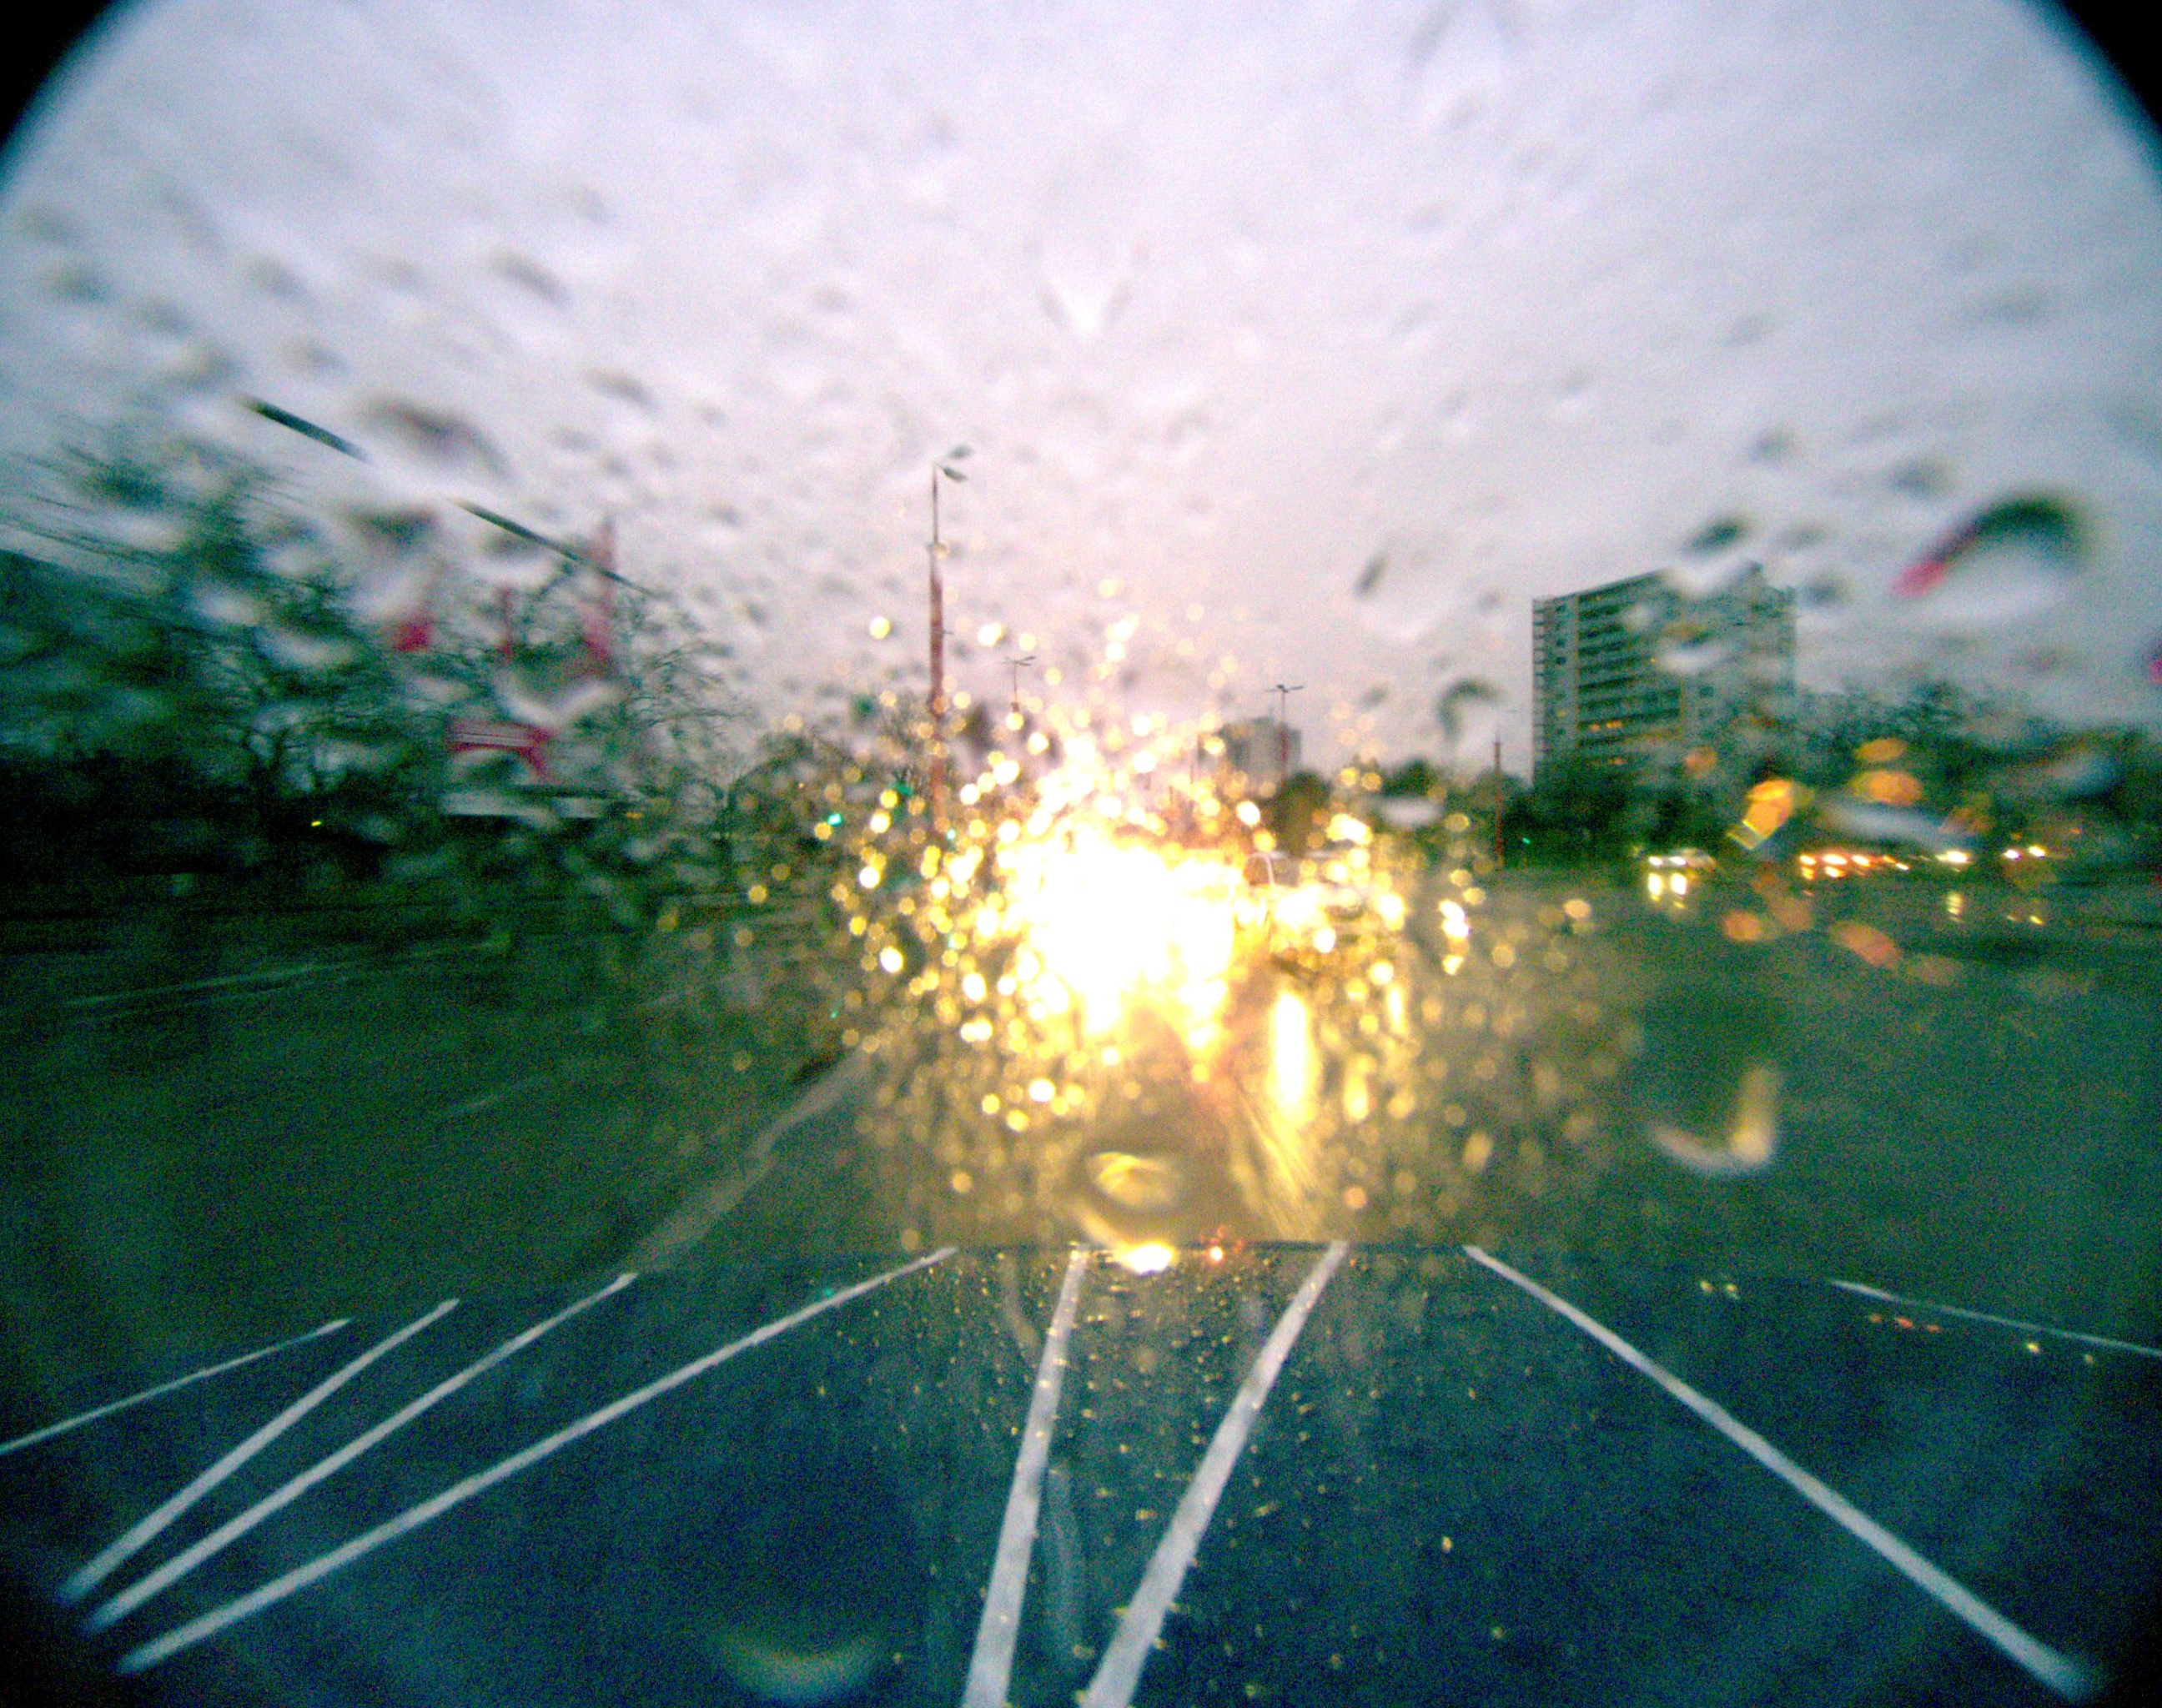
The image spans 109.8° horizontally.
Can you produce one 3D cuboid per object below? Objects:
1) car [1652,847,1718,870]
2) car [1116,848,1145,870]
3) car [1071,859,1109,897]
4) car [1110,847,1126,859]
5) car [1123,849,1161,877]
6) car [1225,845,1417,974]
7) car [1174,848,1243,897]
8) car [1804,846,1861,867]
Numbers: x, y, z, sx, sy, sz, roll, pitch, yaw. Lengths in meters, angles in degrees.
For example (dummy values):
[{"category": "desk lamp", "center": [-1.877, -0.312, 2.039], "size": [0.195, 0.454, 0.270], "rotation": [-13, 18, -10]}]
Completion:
[{"category": "car", "center": [41.899, 0.304, 52.696], "size": [4.446, 1.535, 1.848], "rotation": [0, 1, -26]}, {"category": "car", "center": [3.768, 0.330, 58.408], "size": [1.953, 1.590, 4.124], "rotation": [-1, 1, 0]}, {"category": "car", "center": [0.402, 1.089, 35.615], "size": [1.679, 1.590, 4.044], "rotation": [-1, 1, 0]}, {"category": "car", "center": [4.875, -0.142, 99.700], "size": [1.998, 1.605, 4.000], "rotation": [0, 1, 1]}, {"category": "car", "center": [3.638, 0.509, 45.898], "size": [1.953, 1.590, 4.124], "rotation": [-1, 1, 0]}, {"category": "car", "center": [3.467, 0.691, 11.790], "size": [1.718, 1.638, 4.147], "rotation": [-1, 1, 1]}, {"category": "car", "center": [4.420, 0.594, 26.846], "size": [1.694, 1.530, 4.189], "rotation": [-2, 1, 0]}, {"category": "car", "center": [55.905, 0.147, 56.520], "size": [4.005, 1.535, 1.709], "rotation": [0, 1, -26]}]
